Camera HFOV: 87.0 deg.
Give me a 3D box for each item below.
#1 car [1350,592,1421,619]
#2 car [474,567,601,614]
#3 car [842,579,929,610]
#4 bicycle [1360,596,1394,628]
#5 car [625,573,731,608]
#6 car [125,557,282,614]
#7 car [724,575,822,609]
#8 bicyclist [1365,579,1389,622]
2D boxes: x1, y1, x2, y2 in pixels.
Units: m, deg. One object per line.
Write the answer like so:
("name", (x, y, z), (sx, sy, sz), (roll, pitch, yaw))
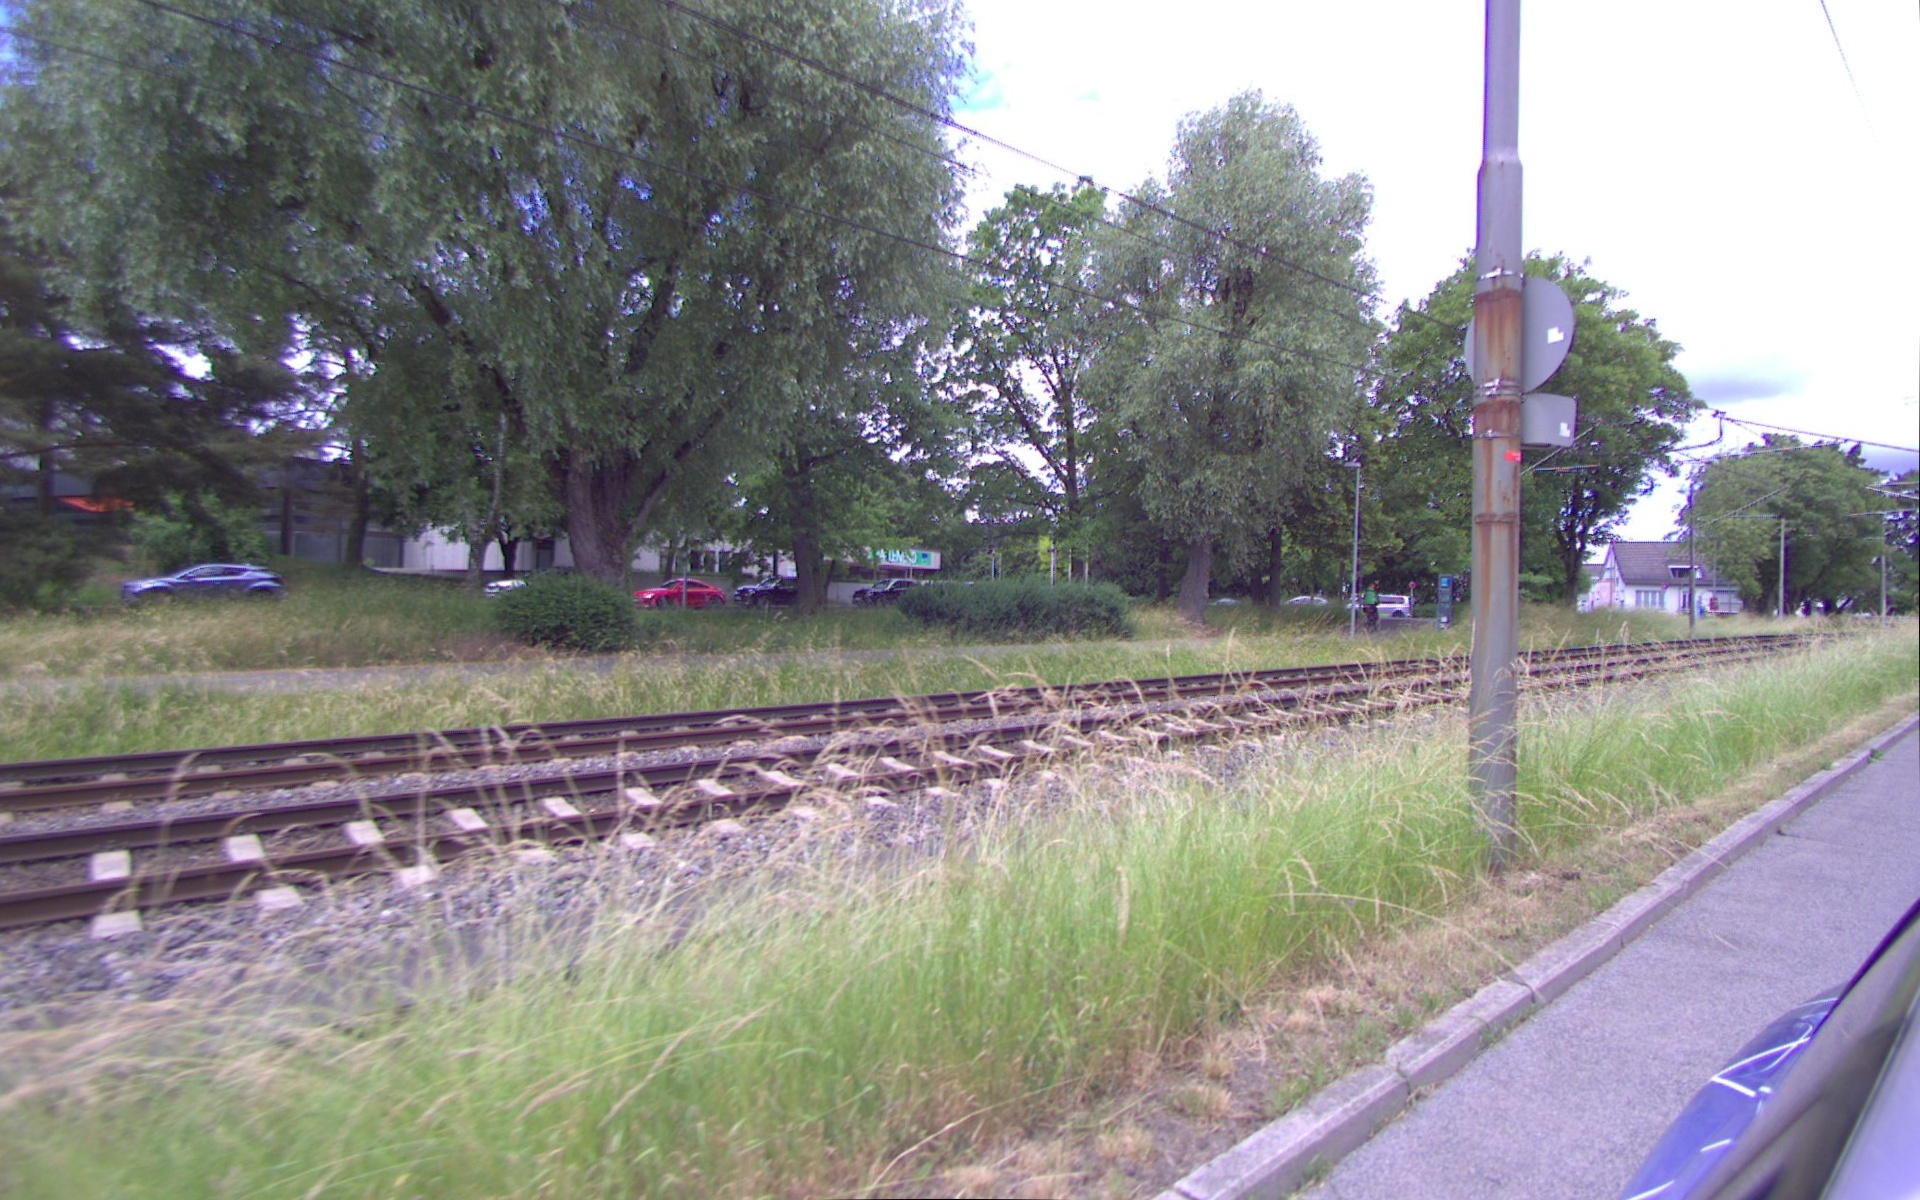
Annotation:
("car", (30.922, 0.387, 73.573), (4.666, 1.884, 1.900), (1, 0, 26))
("car", (-16.401, -0.349, 39.350), (4.155, 1.721, 1.997), (0, -1, -41))
("car", (-3.698, -0.280, 50.518), (3.930, 1.461, 1.997), (0, 0, -41))
("bicycle", (16.782, 0.482, 40.675), (1.898, 1.262, 0.581), (0, 0, -45))
("car", (-11.997, -0.393, 43.168), (3.930, 1.461, 1.997), (0, 0, -41))
("car", (-24.205, -0.431, 32.465), (3.928, 1.721, 1.998), (0, -1, -39))
("car", (-8.493, -0.356, 46.170), (3.930, 1.461, 1.997), (0, 0, -41))
("bicyclist", (16.747, 0.013, 40.638), (0.920, 1.717, 0.581), (1, 0, -45))
